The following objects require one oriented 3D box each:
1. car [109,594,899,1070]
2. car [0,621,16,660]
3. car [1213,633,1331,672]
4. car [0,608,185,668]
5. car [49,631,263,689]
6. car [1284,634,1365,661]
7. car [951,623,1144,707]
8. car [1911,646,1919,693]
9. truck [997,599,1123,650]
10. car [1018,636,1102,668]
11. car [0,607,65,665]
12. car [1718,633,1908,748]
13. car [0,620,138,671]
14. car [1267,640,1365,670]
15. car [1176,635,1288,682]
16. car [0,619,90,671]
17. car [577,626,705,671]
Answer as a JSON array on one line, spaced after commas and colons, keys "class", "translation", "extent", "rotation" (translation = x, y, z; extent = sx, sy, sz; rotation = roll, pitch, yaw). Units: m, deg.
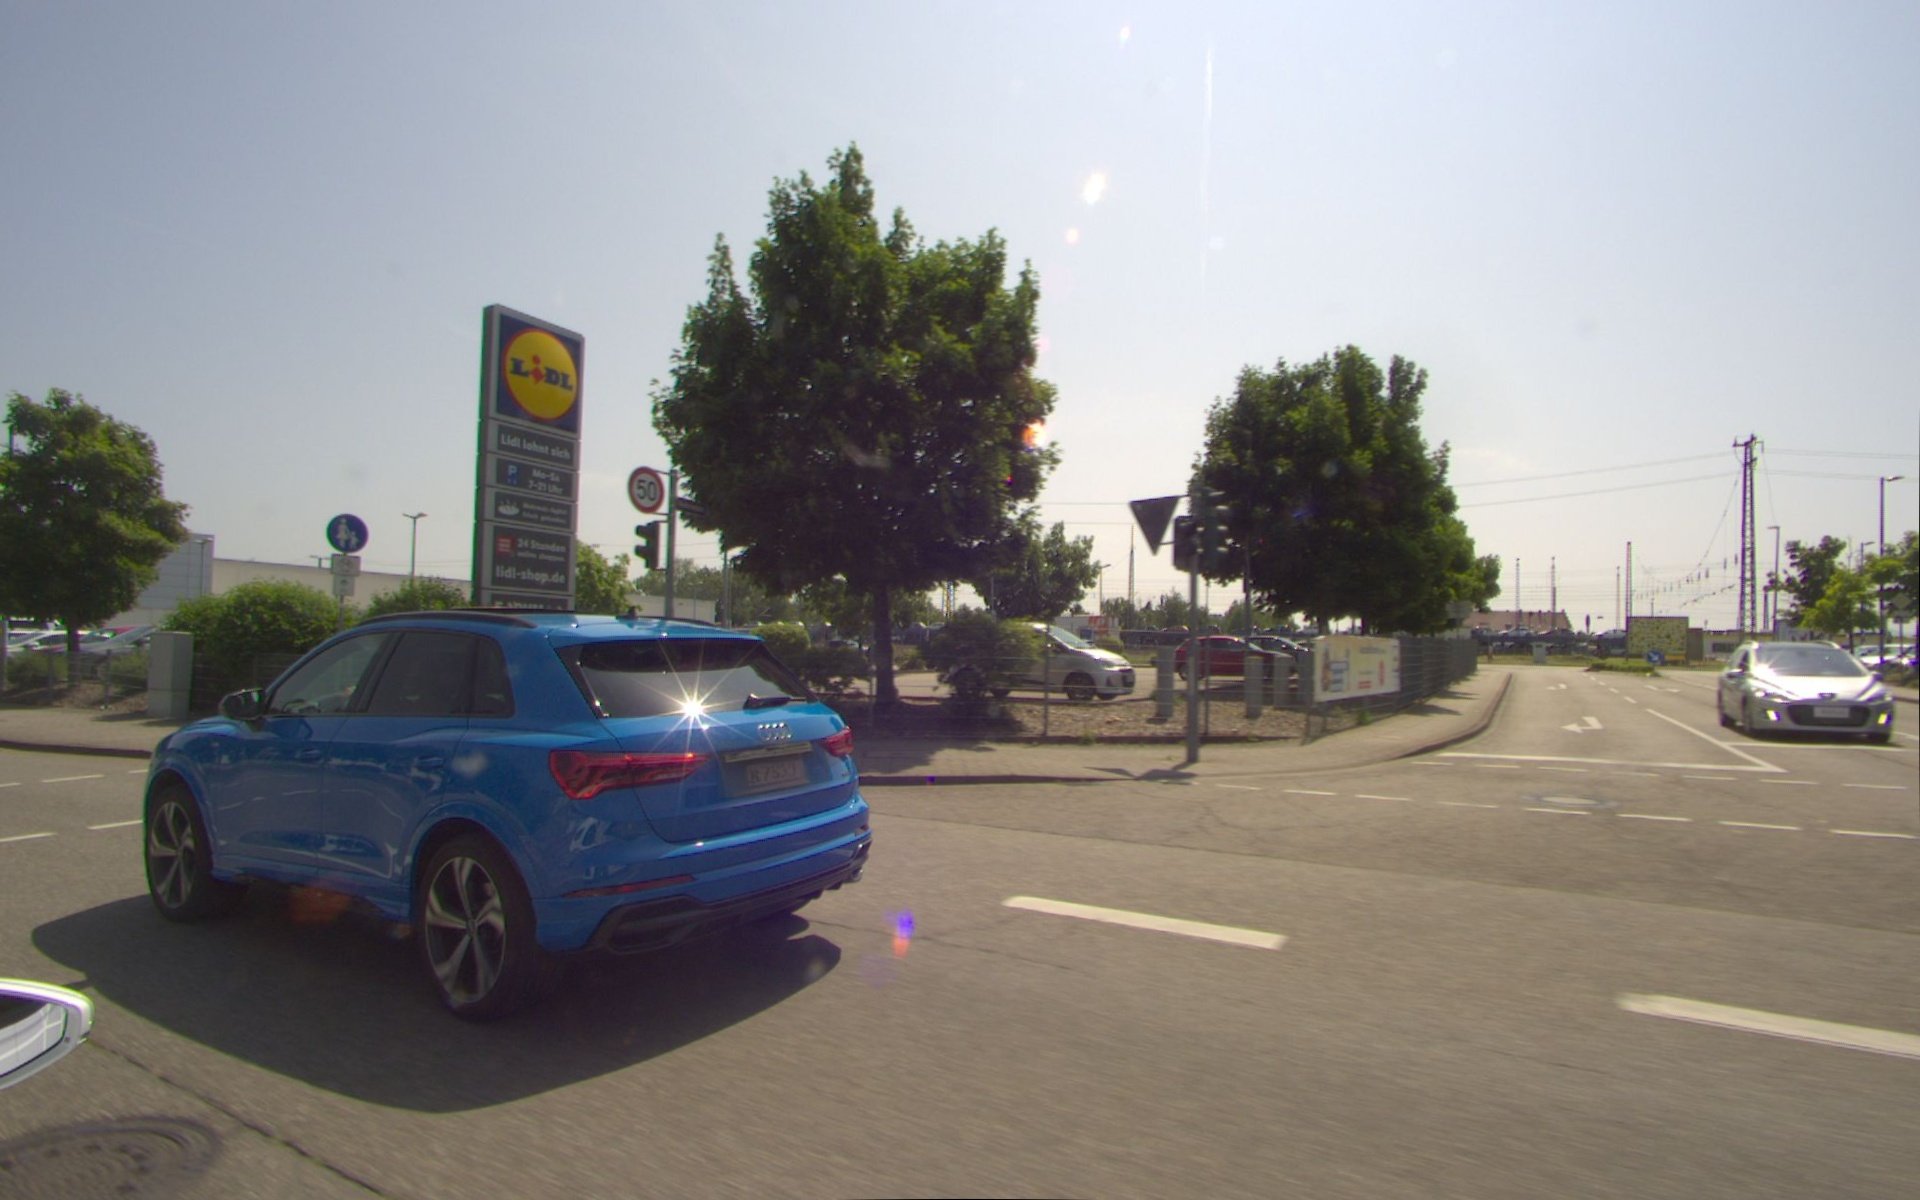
[{"class": "car", "translation": [-2.581, 0.829, 5.326], "extent": [4.287, 1.613, 1.805], "rotation": [-1, -1, 33]}, {"class": "car", "translation": [-35.692, 1.350, 34.675], "extent": [1.798, 1.407, 3.987], "rotation": [0, -3, 28]}, {"class": "car", "translation": [12.486, 2.064, 40.161], "extent": [4.264, 1.468, 1.701], "rotation": [-1, -2, 33]}, {"class": "car", "translation": [-24.343, 1.106, 28.174], "extent": [1.694, 1.555, 3.593], "rotation": [0, -3, 24]}, {"class": "car", "translation": [-21.611, 1.618, 27.097], "extent": [1.672, 1.439, 4.168], "rotation": [0, -3, 30]}, {"class": "car", "translation": [18.478, 2.405, 50.749], "extent": [3.697, 1.306, 1.648], "rotation": [0, -2, 28]}, {"class": "car", "translation": [1.692, 1.206, 19.558], "extent": [3.478, 1.457, 1.419], "rotation": [0, 0, 28]}, {"class": "car", "translation": [29.965, 2.043, 28.748], "extent": [3.553, 1.371, 1.744], "rotation": [-1, -2, 32]}, {"class": "truck", "translation": [7.930, 1.991, 80.390], "extent": [9.886, 3.887, 2.846], "rotation": [-1, -2, 31]}, {"class": "car", "translation": [4.888, 2.528, 49.092], "extent": [3.746, 1.496, 1.628], "rotation": [-1, -2, 32]}, {"class": "car", "translation": [-33.236, 1.179, 33.448], "extent": [1.798, 1.948, 4.617], "rotation": [0, -3, 28]}, {"class": "car", "translation": [13.957, 1.378, 16.636], "extent": [1.782, 1.638, 4.240], "rotation": [-1, -2, 32]}, {"class": "car", "translation": [-27.067, 1.348, 29.542], "extent": [1.671, 1.439, 3.997], "rotation": [0, -3, 27]}, {"class": "car", "translation": [16.485, 2.511, 46.382], "extent": [4.095, 1.306, 1.648], "rotation": [0, -2, 28]}, {"class": "car", "translation": [9.024, 1.913, 33.252], "extent": [3.371, 1.467, 1.701], "rotation": [0, -2, 25]}, {"class": "car", "translation": [-30.851, 1.423, 31.910], "extent": [1.799, 1.612, 4.365], "rotation": [0, -3, 30]}, {"class": "car", "translation": [-10.514, 1.577, 33.003], "extent": [4.017, 1.411, 1.734], "rotation": [-1, -2, 28]}]
